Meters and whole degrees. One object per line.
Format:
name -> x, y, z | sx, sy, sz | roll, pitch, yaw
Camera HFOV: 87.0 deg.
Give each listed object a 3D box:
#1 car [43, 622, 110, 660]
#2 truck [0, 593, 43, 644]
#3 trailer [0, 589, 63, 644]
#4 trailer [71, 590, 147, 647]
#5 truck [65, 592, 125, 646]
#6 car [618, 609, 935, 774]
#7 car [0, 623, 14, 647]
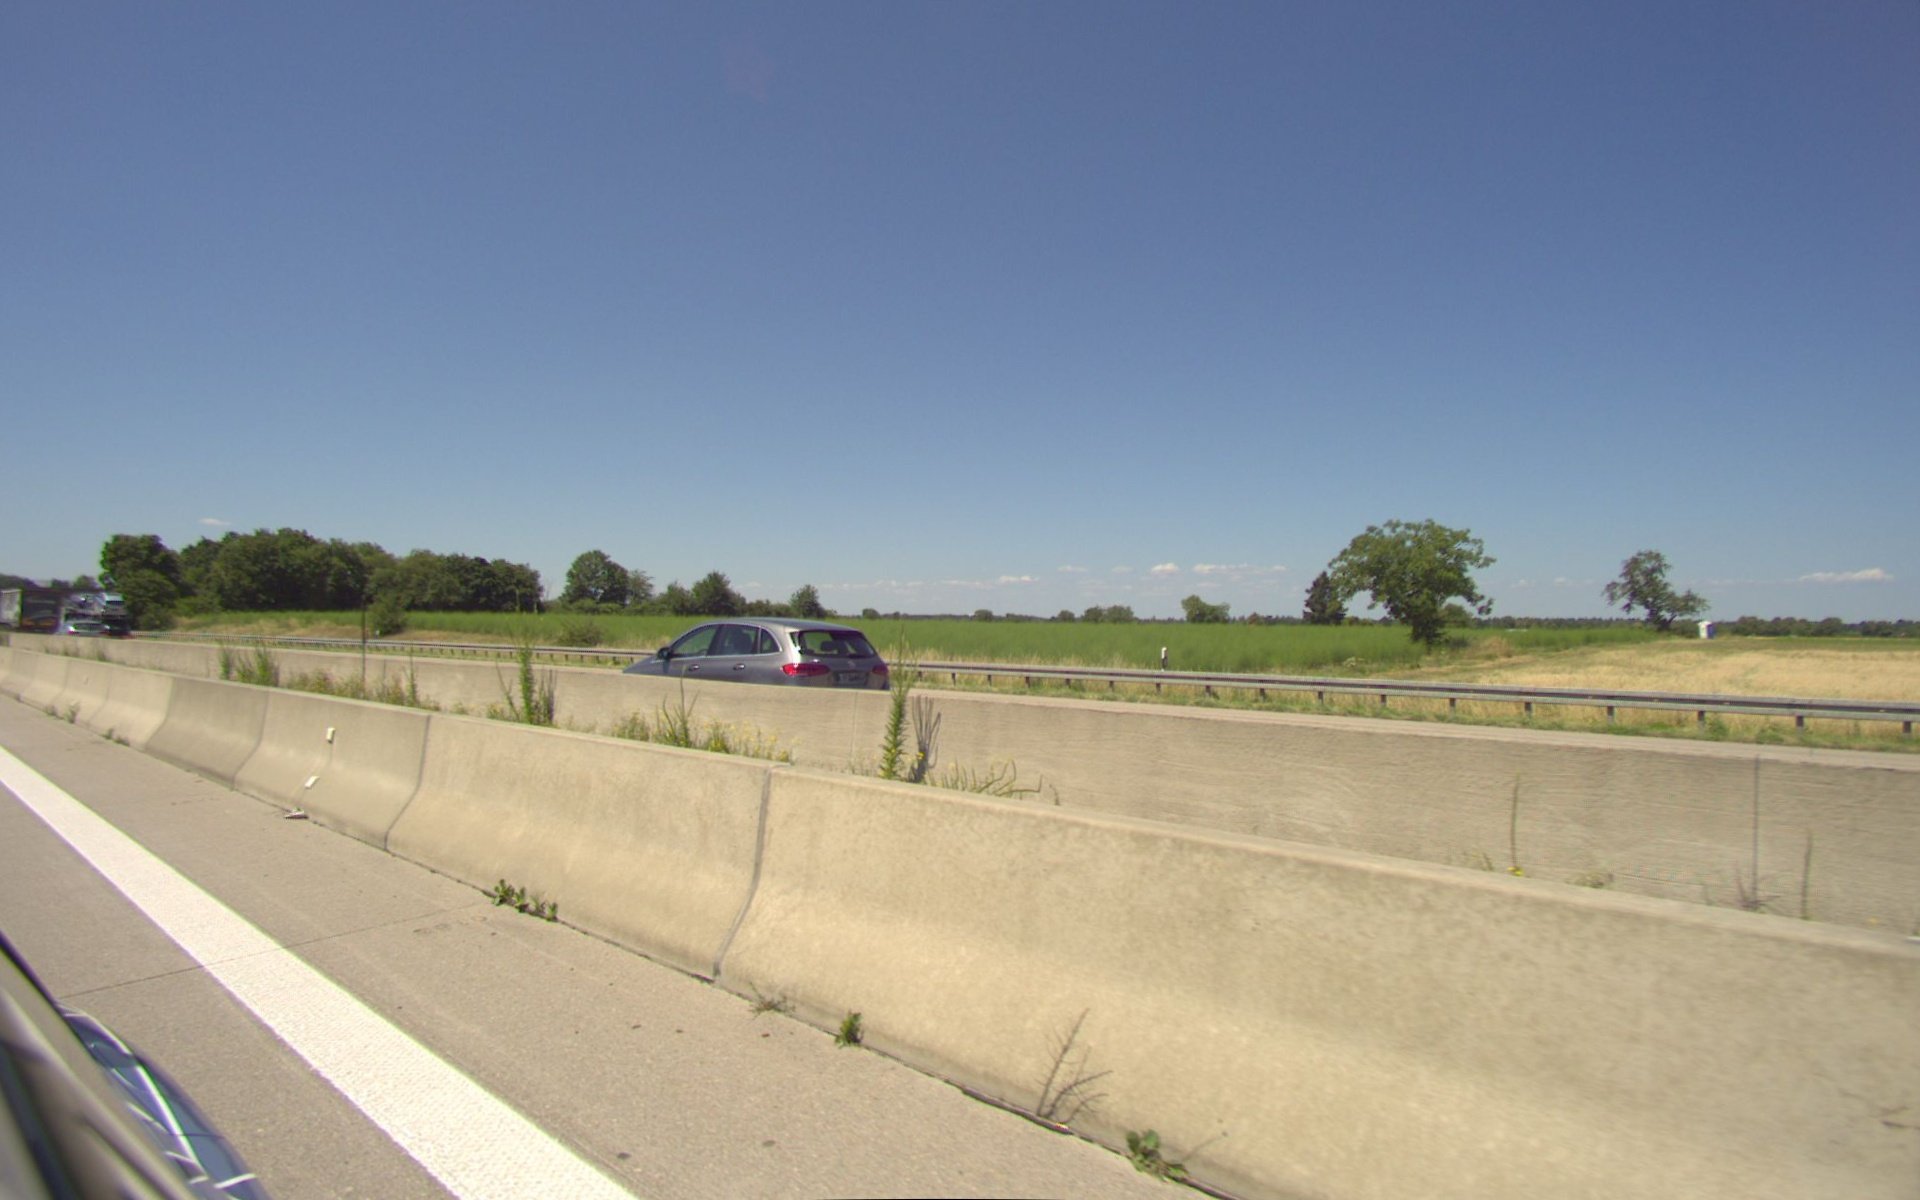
car -> -43.046, 1.942, 49.258 | 4.680, 1.708, 1.862 | -1, -1, 41
truck -> -87.315, 1.720, 93.229 | 7.186, 4.510, 3.233 | -1, -3, 41
trailer -> -82.089, 1.491, 88.724 | 14.444, 4.510, 3.233 | -1, -3, 41
trailer -> -73.202, 1.571, 86.903 | 12.288, 4.641, 3.198 | -1, -1, 41
truck -> -77.852, 1.674, 91.045 | 6.247, 4.641, 3.198 | -1, -1, 41
car -> -2.459, 1.013, 12.925 | 4.140, 1.742, 1.843 | -1, -1, 42
car -> -67.067, 2.422, 70.017 | 4.931, 1.663, 1.885 | -1, -1, 41
